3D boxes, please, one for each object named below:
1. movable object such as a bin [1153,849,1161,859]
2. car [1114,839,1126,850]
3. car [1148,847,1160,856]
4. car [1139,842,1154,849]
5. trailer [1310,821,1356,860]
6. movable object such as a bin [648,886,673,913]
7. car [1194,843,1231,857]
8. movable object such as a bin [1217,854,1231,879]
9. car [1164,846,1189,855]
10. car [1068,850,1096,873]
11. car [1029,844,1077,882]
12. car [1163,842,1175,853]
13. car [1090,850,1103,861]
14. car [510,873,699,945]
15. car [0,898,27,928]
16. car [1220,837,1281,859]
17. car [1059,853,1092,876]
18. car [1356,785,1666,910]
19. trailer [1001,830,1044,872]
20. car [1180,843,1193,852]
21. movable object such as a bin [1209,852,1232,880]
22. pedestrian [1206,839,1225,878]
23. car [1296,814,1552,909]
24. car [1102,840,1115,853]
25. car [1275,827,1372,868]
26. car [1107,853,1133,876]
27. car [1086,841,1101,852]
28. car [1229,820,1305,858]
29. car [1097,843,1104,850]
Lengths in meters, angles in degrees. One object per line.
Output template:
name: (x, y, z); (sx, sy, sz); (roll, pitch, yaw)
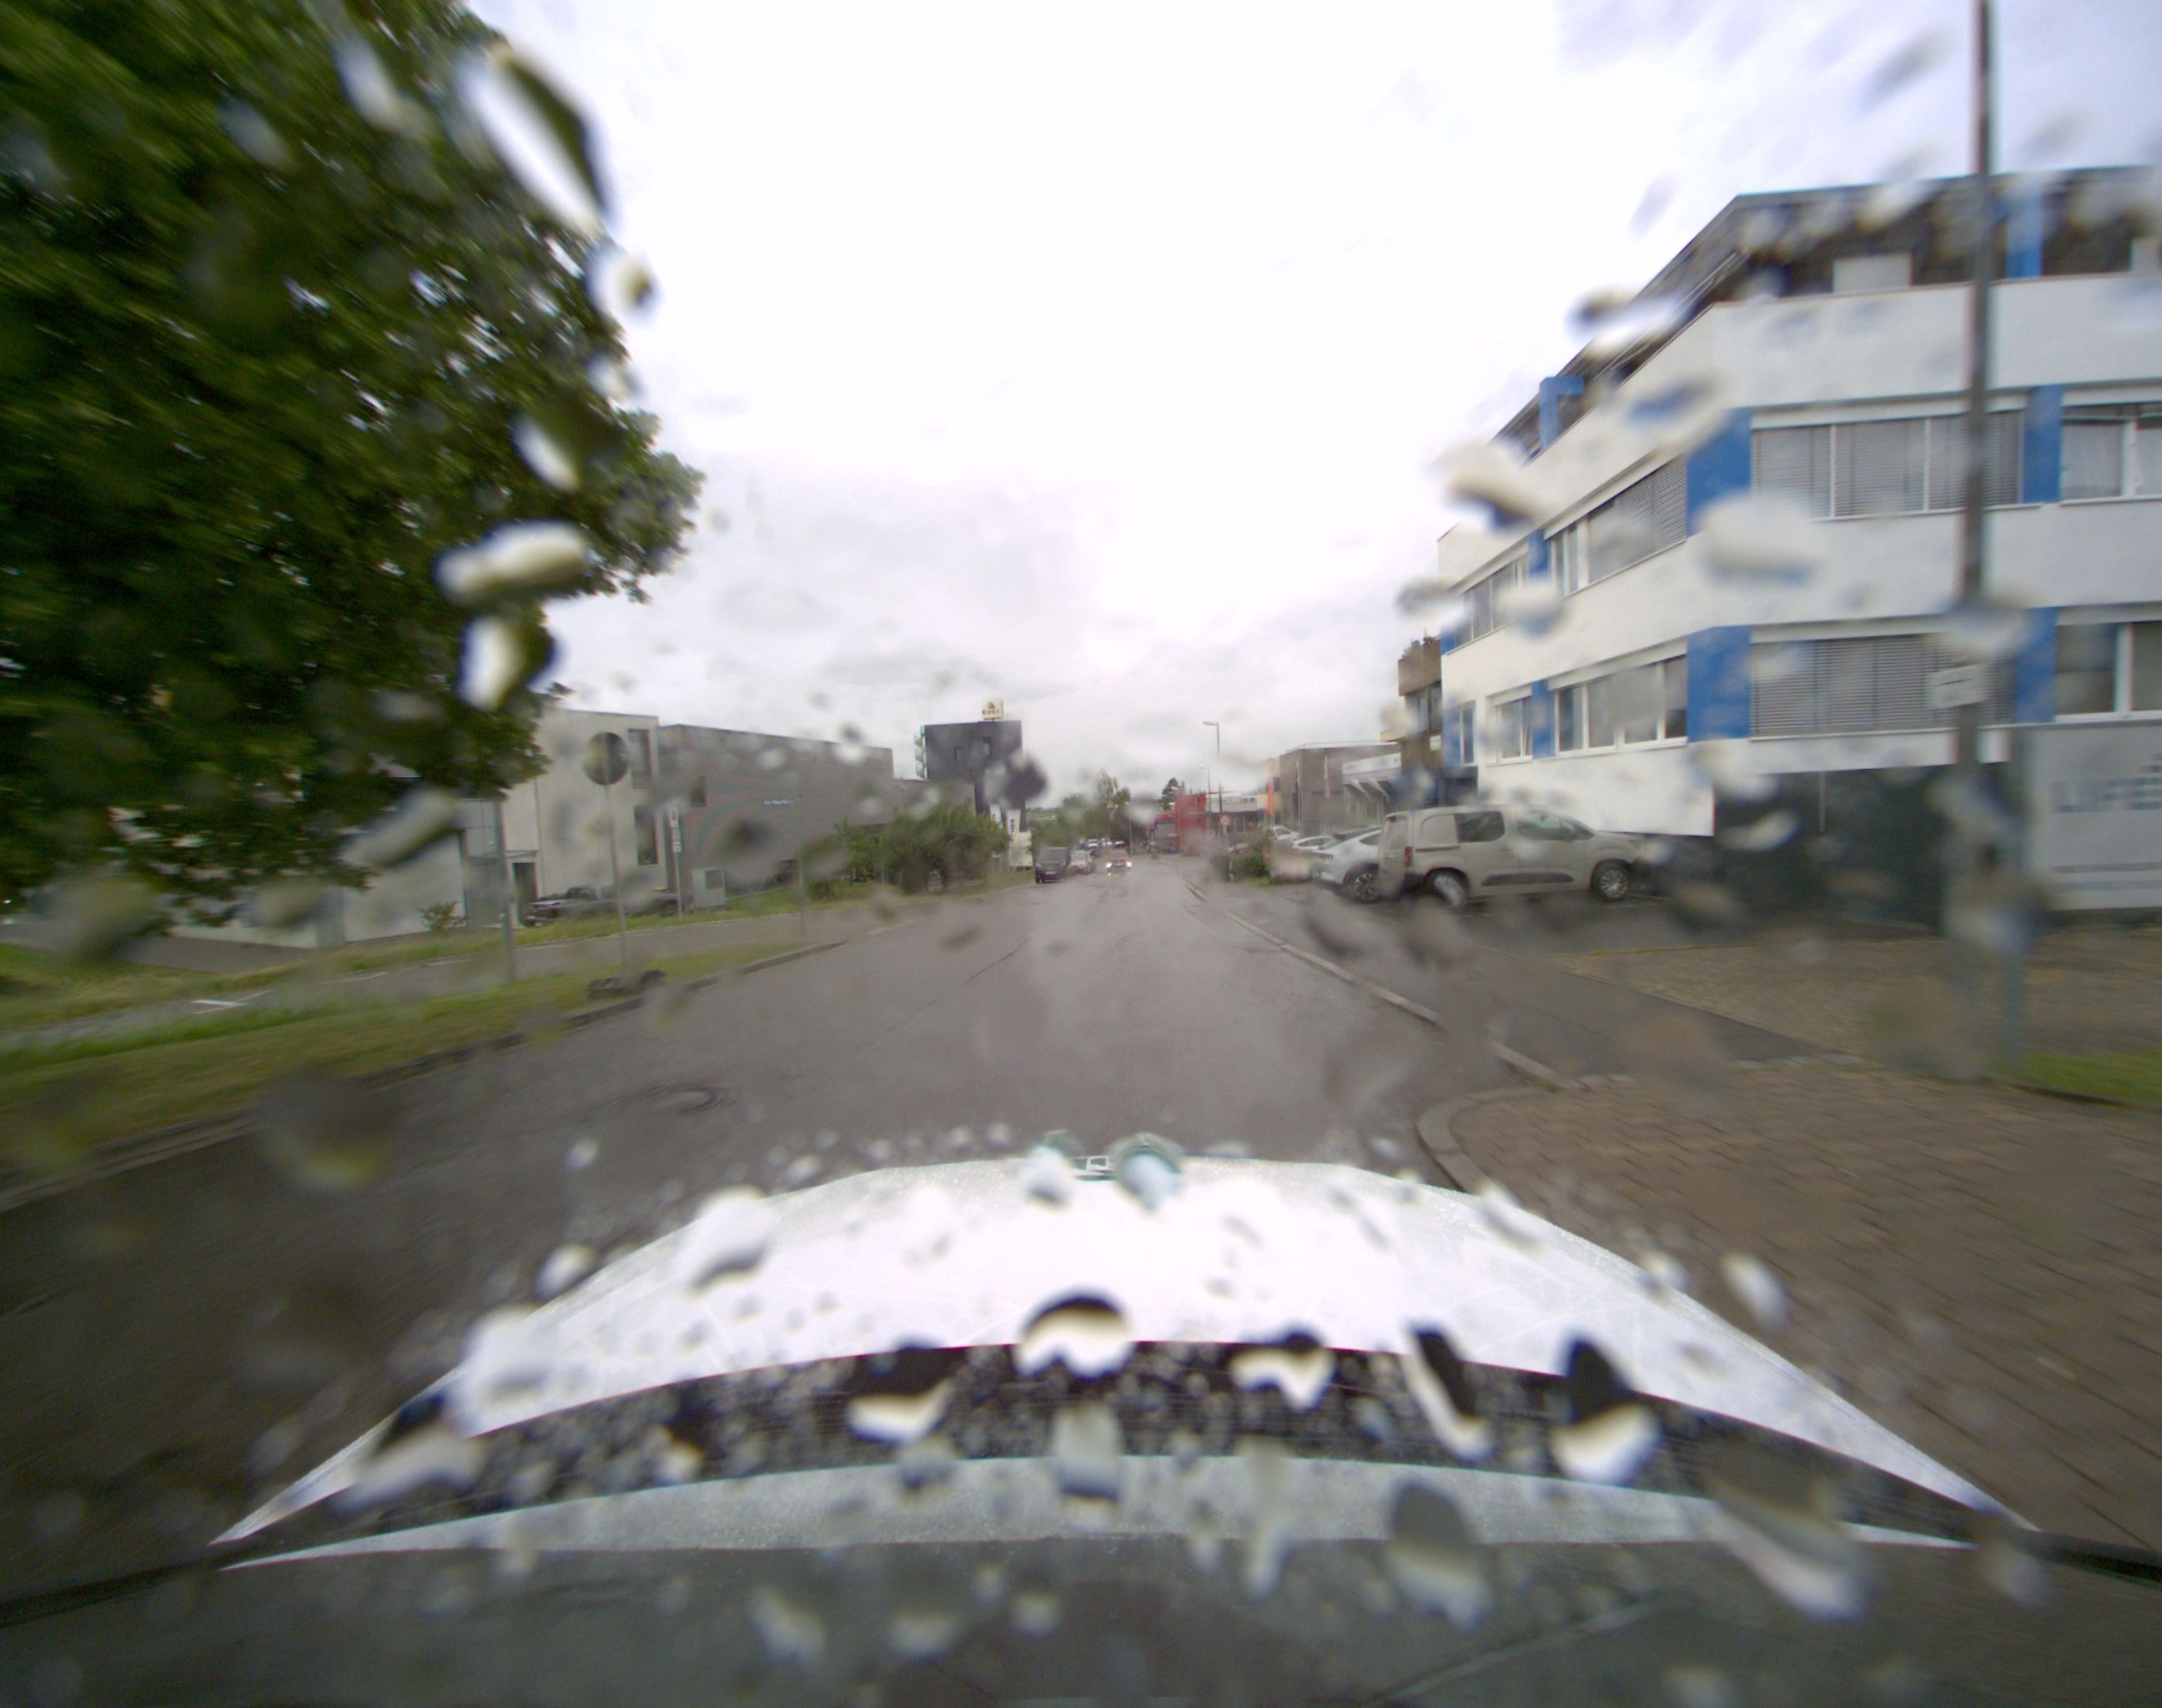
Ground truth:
movable object such as a bin: (8.824, -0.013, 95.008); (0.804, 1.092, 0.709); (-4, 0, -2)
car: (8.167, -1.955, 171.550); (2.141, 2.013, 3.935); (-3, -1, -3)
car: (12.150, -0.418, 135.343); (1.690, 1.475, 4.003); (-3, -1, 3)
car: (12.672, -1.624, 157.498); (2.541, 1.352, 1.241); (-3, 0, -2)
trailer: (16.563, -0.910, 53.708); (1.878, 2.416, 4.315); (-3, 1, 5)
movable object such as a bin: (-18.860, 2.030, 36.496); (0.629, 1.096, 0.678); (-4, 1, 30)
car: (14.546, -0.458, 90.413); (3.879, 1.383, 1.822); (-2, -1, 2)
movable object such as a bin: (5.794, 0.501, 33.084); (0.470, 0.967, 0.515); (-3, 0, 5)
car: (13.738, -0.513, 117.425); (3.384, 1.163, 1.794); (-3, 0, 5)
car: (0.118, 0.585, 64.661); (1.950, 1.576, 4.842); (-4, -1, 2)
car: (-1.433, 0.474, 43.672); (1.906, 1.831, 4.854); (-3, 0, 5)
car: (14.704, -1.027, 135.947); (1.732, 1.653, 4.003); (-3, -1, 3)
car: (2.448, 0.287, 130.014); (1.950, 1.675, 4.471); (-3, -1, 0)
car: (-17.350, 1.923, 30.081); (2.109, 1.921, 5.645); (-2, 3, 27)
car: (-63.063, 3.474, 47.045); (3.949, 1.618, 2.013); (-3, 0, 29)
car: (15.247, -0.528, 73.392); (5.071, 1.613, 1.926); (-4, 1, 2)
car: (-0.341, 0.702, 58.292); (1.947, 1.461, 5.253); (-3, 0, 4)
car: (7.423, -0.110, 14.441); (4.324, 1.773, 2.090); (-4, 0, 1)
trailer: (-6.224, -0.331, 86.865); (4.133, 4.203, 2.019); (-4, 0, 42)
car: (17.414, -1.025, 134.838); (1.722, 1.422, 4.003); (-3, -1, 3)
movable object such as a bin: (5.394, 0.442, 31.500); (0.768, 1.030, 0.809); (-3, 0, 5)
pedestrian: (6.261, 0.198, 37.971); (0.733, 1.767, 0.809); (-3, 0, 5)
car: (7.216, 0.144, 17.544); (4.578, 1.538, 2.081); (-5, 0, 3)
car: (5.706, -1.547, 170.670); (2.189, 2.459, 3.993); (-3, -1, -5)
car: (11.822, -0.298, 39.923); (4.104, 1.574, 2.005); (-6, -1, 3)
car: (2.968, 0.807, 61.542); (1.739, 1.508, 3.940); (-6, -1, 4)
car: (2.676, -1.631, 170.378); (2.267, 2.013, 3.983); (-3, -1, -12)
car: (14.570, -1.146, 64.163); (5.278, 2.013, 2.224); (-11, -1, 3)
car: (4.184, -1.682, 176.351); (1.287, 1.424, 2.543); (-3, -1, -3)
